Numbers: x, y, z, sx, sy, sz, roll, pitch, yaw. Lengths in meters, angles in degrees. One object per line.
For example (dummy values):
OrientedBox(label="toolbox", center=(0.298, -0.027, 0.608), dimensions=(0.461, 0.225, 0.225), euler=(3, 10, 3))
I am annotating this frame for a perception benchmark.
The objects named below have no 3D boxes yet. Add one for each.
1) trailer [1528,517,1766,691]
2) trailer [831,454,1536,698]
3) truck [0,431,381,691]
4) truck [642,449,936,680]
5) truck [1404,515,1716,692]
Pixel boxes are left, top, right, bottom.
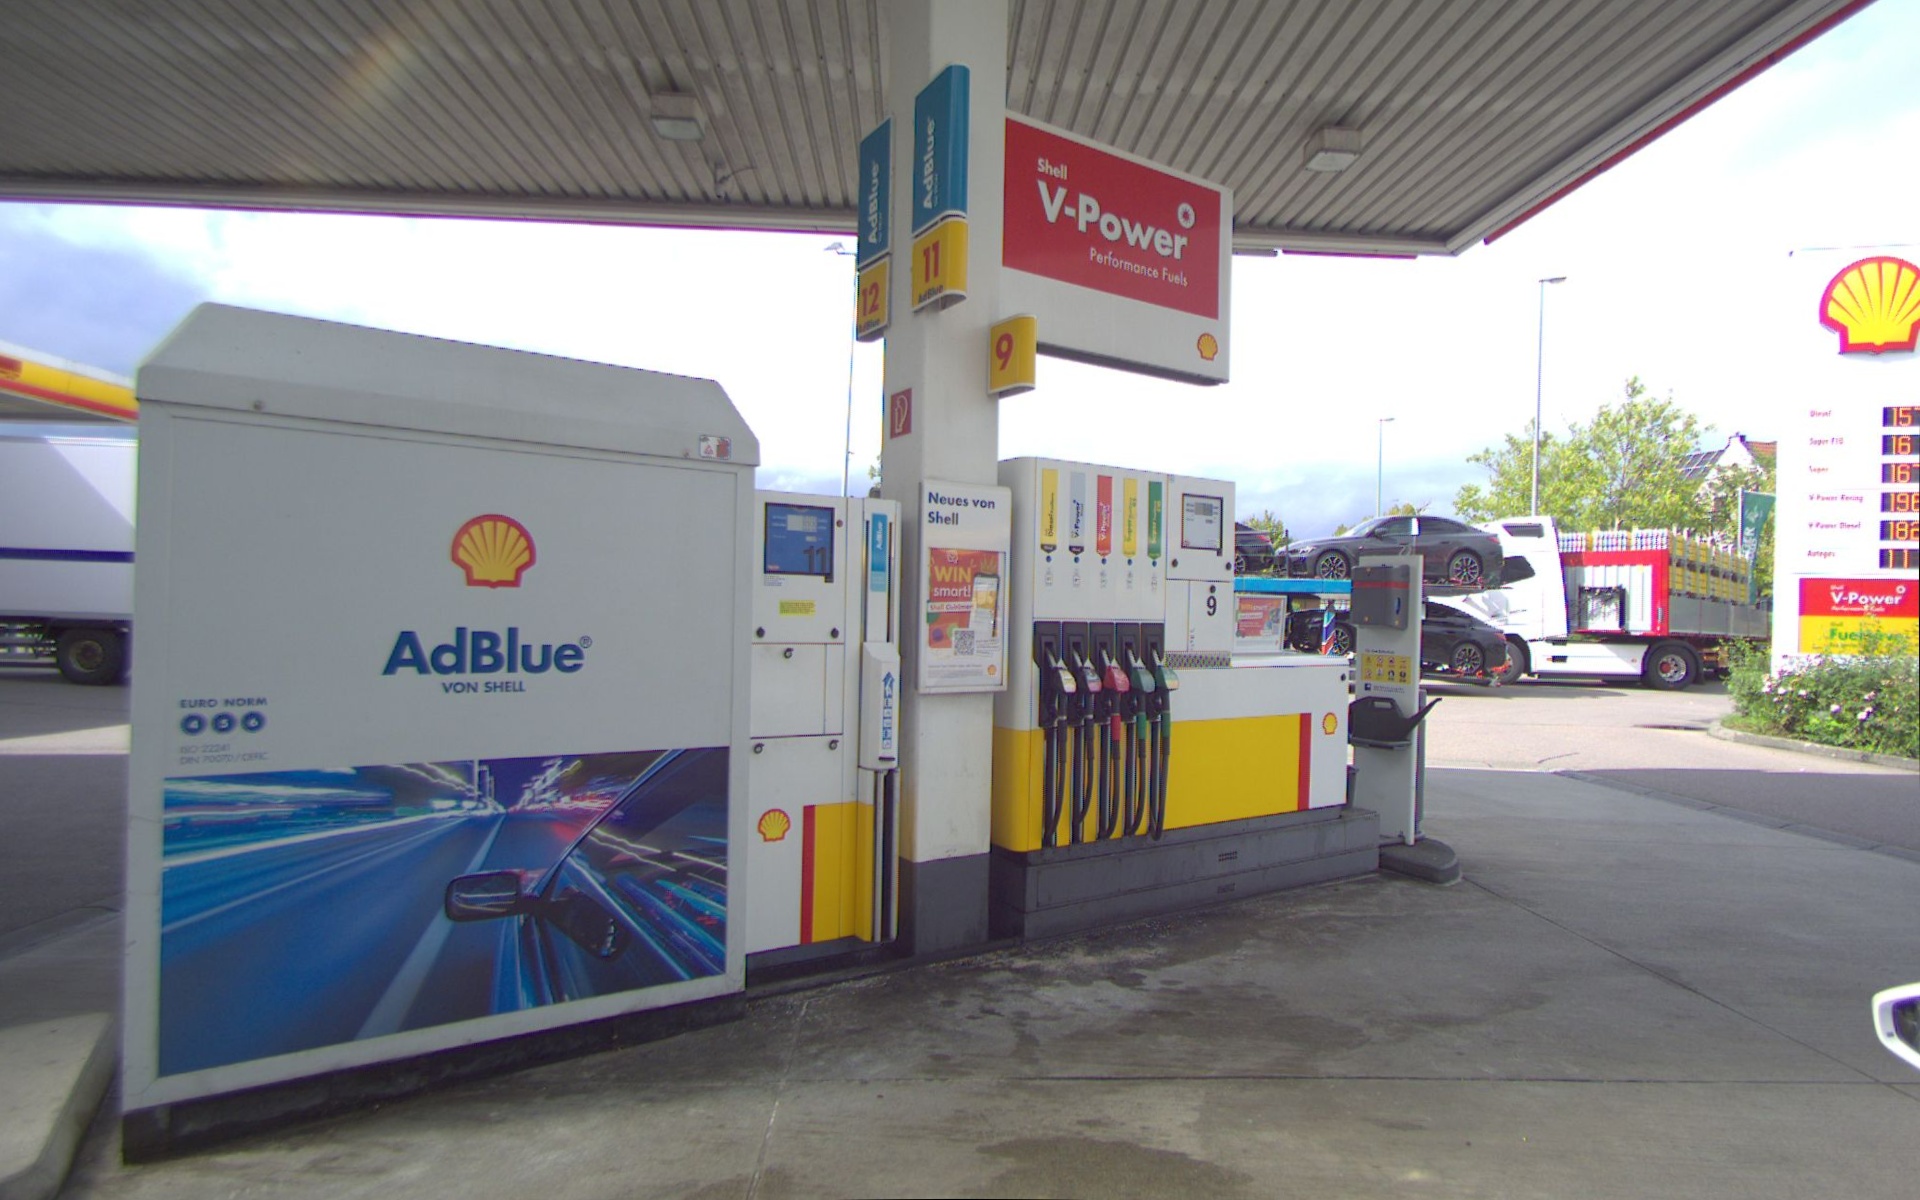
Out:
OrientedBox(label="trailer", center=(19.152, 0.231, 27.414), dimensions=(12.624, 3.826, 2.704), euler=(2, 0, -43))
OrientedBox(label="trailer", center=(4.511, -0.467, 21.588), dimensions=(14.077, 4.481, 2.746), euler=(2, 0, 0))
OrientedBox(label="truck", center=(-17.315, -0.738, 17.501), dimensions=(12.654, 4.092, 2.534), euler=(2, 0, -3))
OrientedBox(label="truck", center=(-3.464, -0.704, 21.548), dimensions=(5.713, 4.479, 2.750), euler=(2, 0, 0))
OrientedBox(label="truck", center=(14.290, 0.067, 24.373), dimensions=(5.799, 3.897, 2.743), euler=(2, 0, 6))
